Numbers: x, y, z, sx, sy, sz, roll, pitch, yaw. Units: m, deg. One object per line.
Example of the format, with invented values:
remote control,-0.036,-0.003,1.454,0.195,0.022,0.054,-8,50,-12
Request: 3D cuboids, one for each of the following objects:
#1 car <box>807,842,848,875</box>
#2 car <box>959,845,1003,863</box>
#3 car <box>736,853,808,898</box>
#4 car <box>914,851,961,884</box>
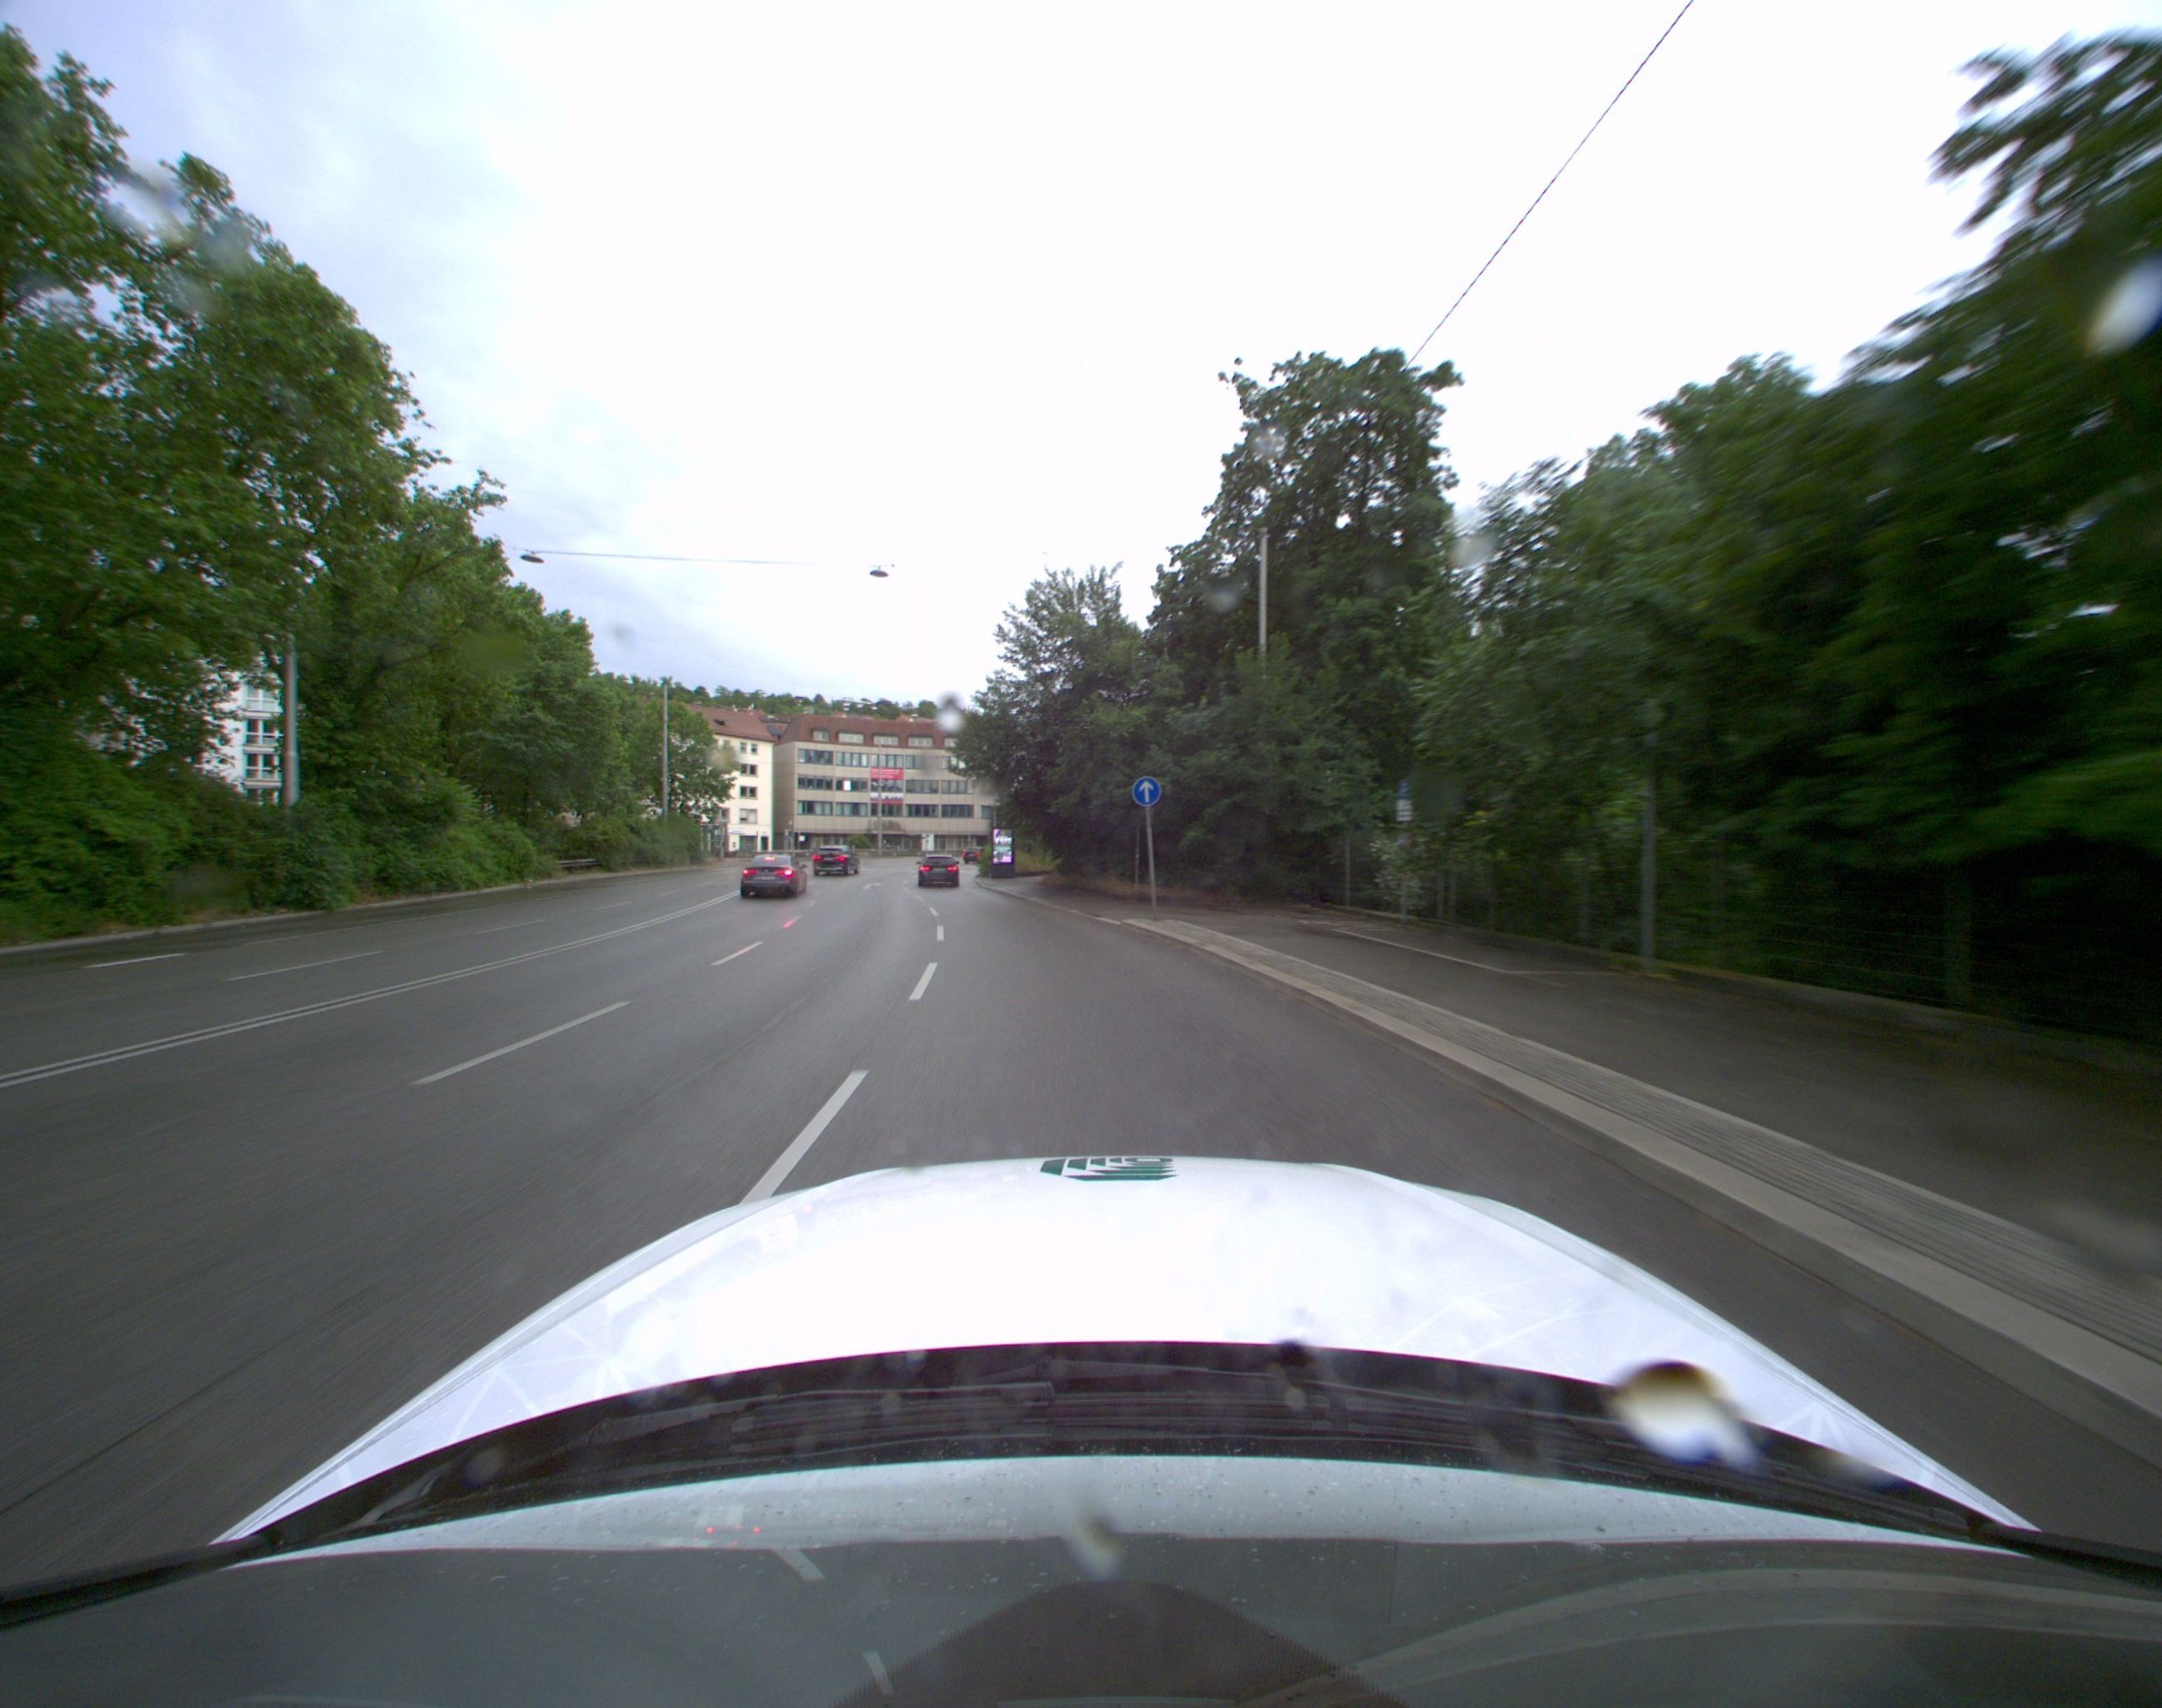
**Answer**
car,-13.917,0.247,44.926,1.903,1.693,3.981,0,0,-14
car,-8.546,-0.010,69.912,1.776,1.426,4.637,1,1,21
car,-10.652,0.694,28.351,1.793,1.426,4.364,0,0,-14
car,-6.523,0.596,37.288,1.958,1.426,4.112,0,0,-9
